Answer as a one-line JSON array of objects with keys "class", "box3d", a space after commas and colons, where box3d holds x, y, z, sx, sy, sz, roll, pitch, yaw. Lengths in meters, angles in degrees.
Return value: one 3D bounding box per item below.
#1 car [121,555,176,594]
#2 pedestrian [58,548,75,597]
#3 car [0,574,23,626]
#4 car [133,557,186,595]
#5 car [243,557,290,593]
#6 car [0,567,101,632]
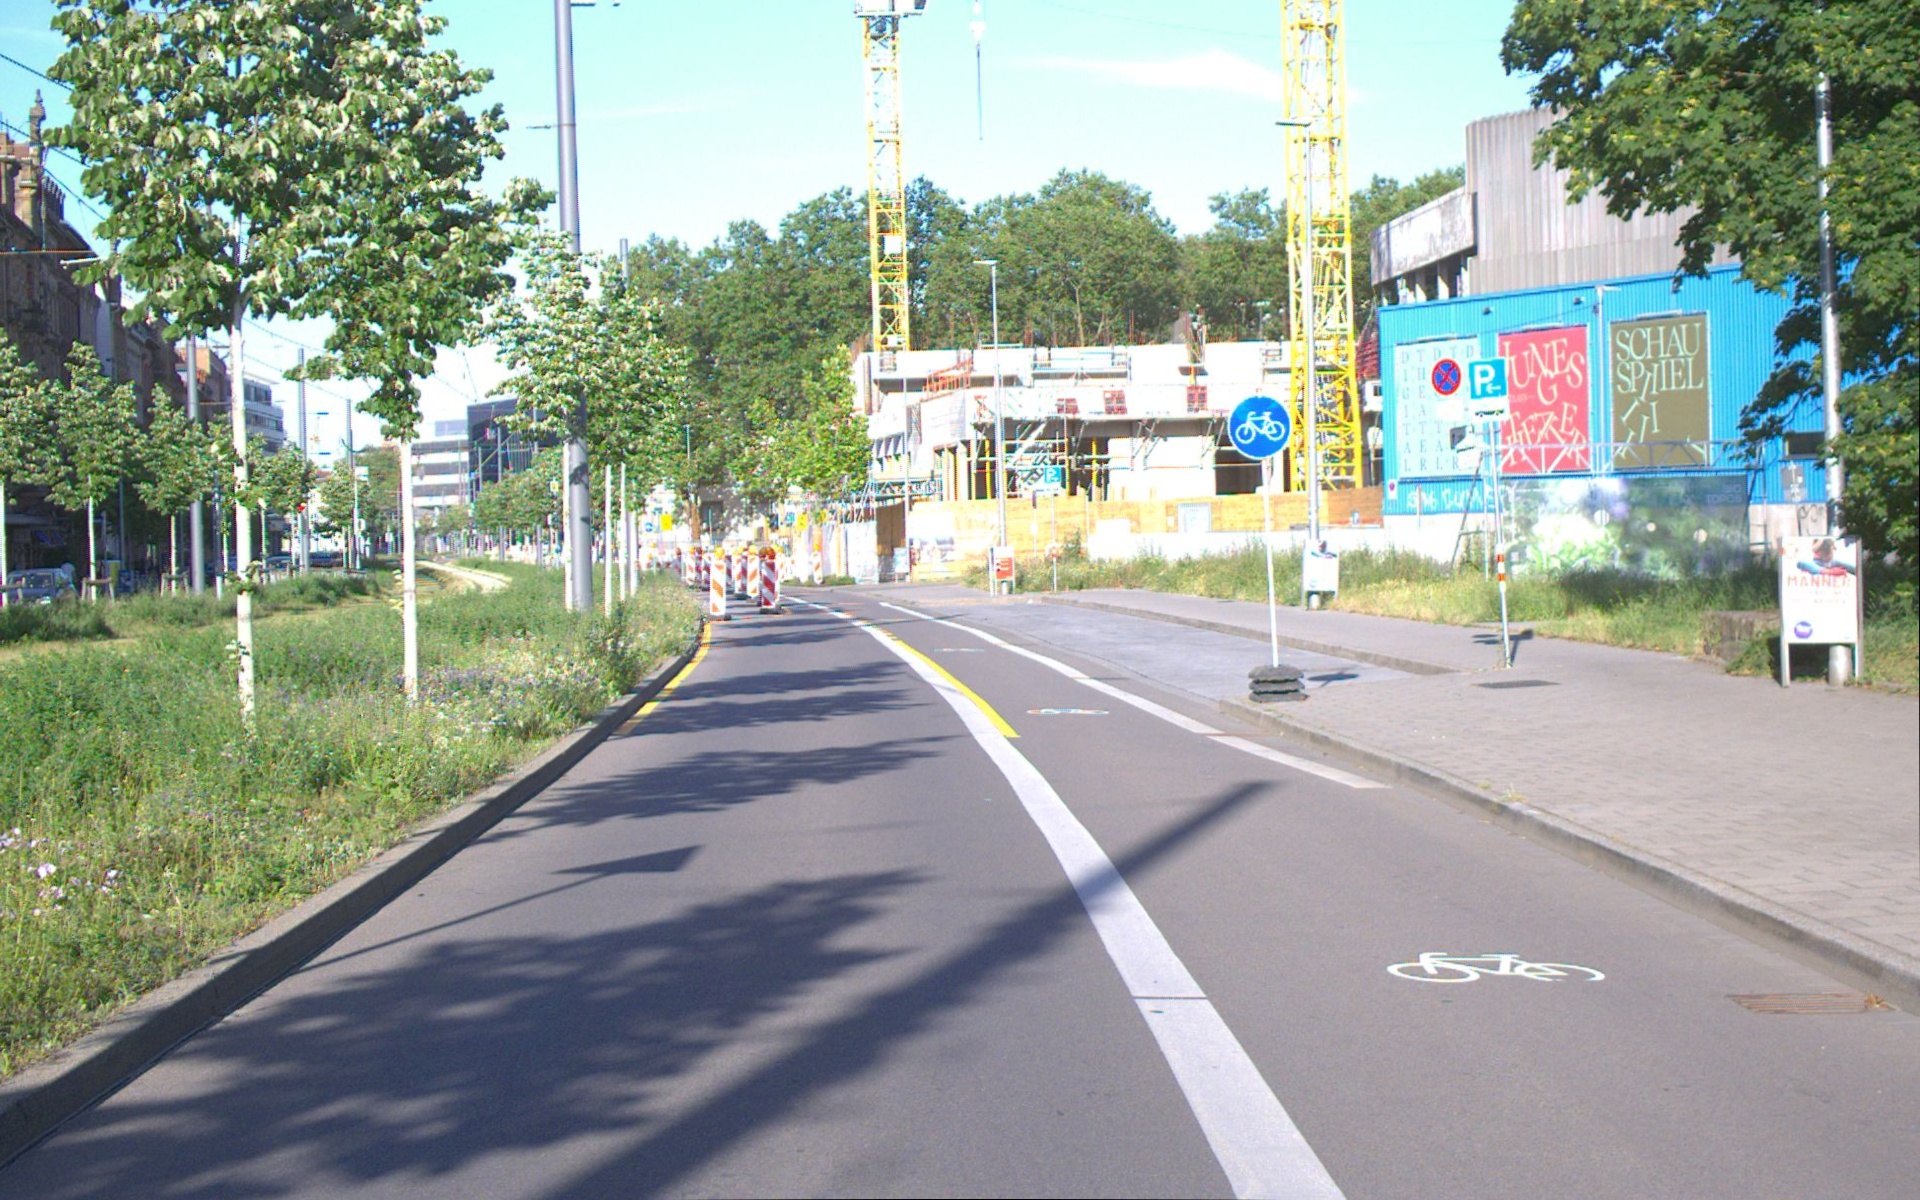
[{"class": "car", "box3d": [-34.553, -1.099, 146.409, 1.903, 1.570, 4.302, -2, 1, -9]}, {"class": "pedestrian", "box3d": [-35.452, -1.089, 136.423, 0.550, 1.940, 0.650, -2, 1, -9]}, {"class": "car", "box3d": [-30.709, 0.039, 107.200, 1.903, 1.570, 4.301, -2, 1, -2]}, {"class": "car", "box3d": [-35.137, -1.056, 151.013, 1.903, 1.570, 4.302, -2, 1, -9]}, {"class": "car", "box3d": [-32.279, -1.170, 160.142, 1.903, 1.570, 4.302, -2, 1, -9]}, {"class": "car", "box3d": [-23.967, -0.028, 90.132, 1.903, 1.570, 4.301, -2, 1, -2]}]
